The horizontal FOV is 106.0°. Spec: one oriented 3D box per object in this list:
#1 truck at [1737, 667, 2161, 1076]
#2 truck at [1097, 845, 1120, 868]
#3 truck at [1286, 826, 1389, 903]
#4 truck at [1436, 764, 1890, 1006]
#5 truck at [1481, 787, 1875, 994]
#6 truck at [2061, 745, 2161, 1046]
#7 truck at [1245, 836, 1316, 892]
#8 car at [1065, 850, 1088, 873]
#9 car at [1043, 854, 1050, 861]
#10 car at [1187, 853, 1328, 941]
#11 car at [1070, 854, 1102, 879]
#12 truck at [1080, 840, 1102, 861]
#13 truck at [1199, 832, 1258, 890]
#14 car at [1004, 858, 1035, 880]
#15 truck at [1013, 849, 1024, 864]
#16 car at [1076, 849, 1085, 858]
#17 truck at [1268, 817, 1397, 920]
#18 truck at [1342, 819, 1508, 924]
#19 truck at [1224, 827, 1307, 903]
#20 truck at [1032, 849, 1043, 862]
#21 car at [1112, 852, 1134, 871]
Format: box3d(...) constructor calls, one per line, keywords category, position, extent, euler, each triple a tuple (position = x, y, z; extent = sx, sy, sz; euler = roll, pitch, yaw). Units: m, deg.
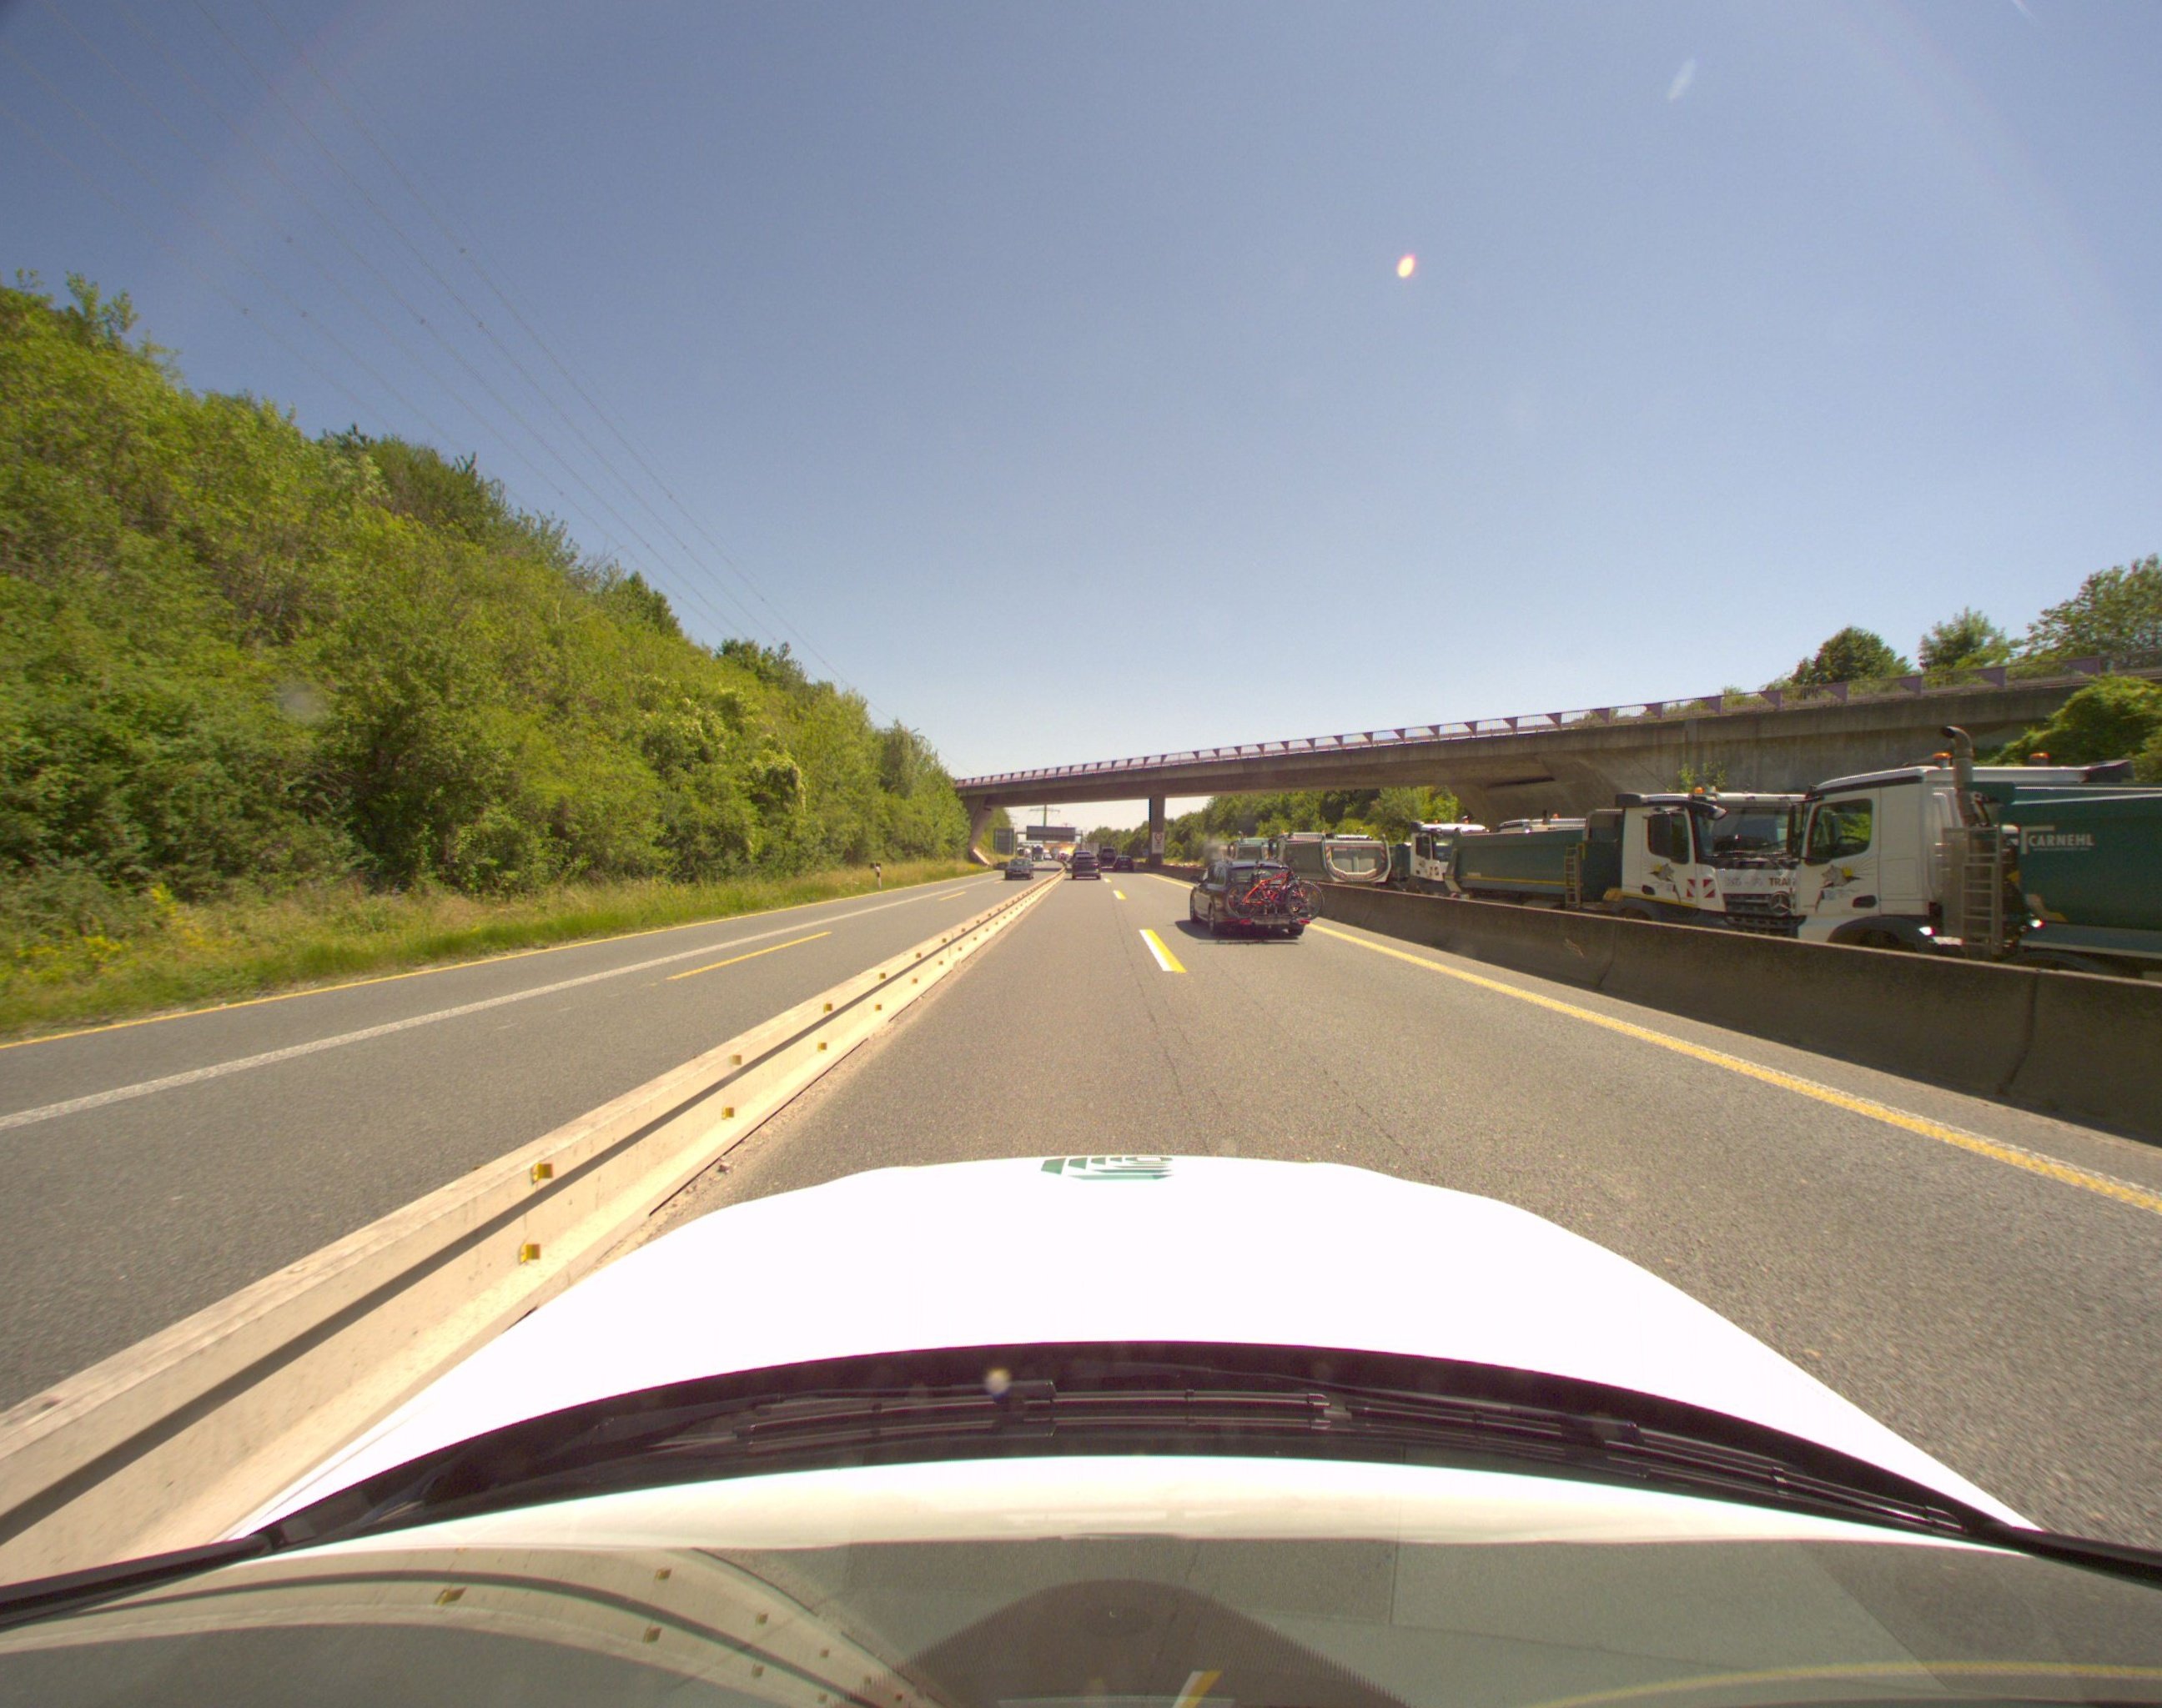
box3d(category="truck", position=(10.745, 0.152, 7.058), extent=(2.678, 3.557, 9.324), euler=(0, 0, 0))
box3d(category="truck", position=(3.070, 0.291, 93.059), extent=(2.398, 2.558, 7.499), euler=(0, 0, 0))
box3d(category="truck", position=(13.614, 0.517, 44.143), extent=(2.678, 3.727, 9.324), euler=(0, 0, 0))
box3d(category="truck", position=(10.615, 0.457, 16.658), extent=(2.678, 3.557, 9.324), euler=(0, 0, 0))
box3d(category="truck", position=(13.135, 0.672, 19.459), extent=(2.678, 3.761, 9.325), euler=(0, 0, 1))
box3d(category="truck", position=(13.451, 0.462, 5.286), extent=(2.678, 3.378, 9.601), euler=(0, 0, 0))
box3d(category="truck", position=(13.562, 0.632, 56.176), extent=(2.678, 3.557, 9.324), euler=(0, 0, 0))
box3d(category="car", position=(-0.397, 0.638, 72.361), extent=(1.892, 1.968, 4.278), euler=(0, 0, 2))
box3d(category="car", position=(-9.154, 0.831, 214.578), extent=(1.759, 1.838, 3.994), euler=(0, -1, -4))
box3d(category="car", position=(3.319, 0.752, 16.295), extent=(1.892, 1.490, 4.949), euler=(0, -1, 2))
box3d(category="car", position=(0.368, 0.782, 52.135), extent=(1.892, 1.505, 4.278), euler=(0, 0, 2))
box3d(category="truck", position=(1.794, -0.677, 152.480), extent=(3.286, 3.845, 10.095), euler=(0, 0, -4))
box3d(category="truck", position=(10.434, 0.478, 58.708), extent=(2.678, 3.843, 9.325), euler=(0, 0, 1))
box3d(category="car", position=(-3.975, 0.960, 52.925), extent=(1.668, 1.393, 4.071), euler=(0, -1, 1))
box3d(category="truck", position=(-14.084, 0.517, 184.261), extent=(2.503, 3.186, 10.095), euler=(0, 0, -4))
box3d(category="car", position=(-0.157, -0.045, 187.909), extent=(1.895, 1.968, 4.271), euler=(0, 0, -3))
box3d(category="truck", position=(10.314, 0.544, 34.606), extent=(2.678, 3.761, 9.325), euler=(0, 0, 1))
box3d(category="truck", position=(13.075, 0.597, 32.073), extent=(2.678, 3.557, 9.324), euler=(0, 0, 0))
box3d(category="truck", position=(10.225, 0.583, 46.066), extent=(2.678, 3.856, 9.325), euler=(0, 0, 1))
box3d(category="truck", position=(-10.739, 0.390, 199.112), extent=(2.503, 3.186, 10.095), euler=(0, 0, -4))
box3d(category="car", position=(3.781, 0.669, 73.408), extent=(1.892, 1.585, 4.278), euler=(0, 0, 2))
